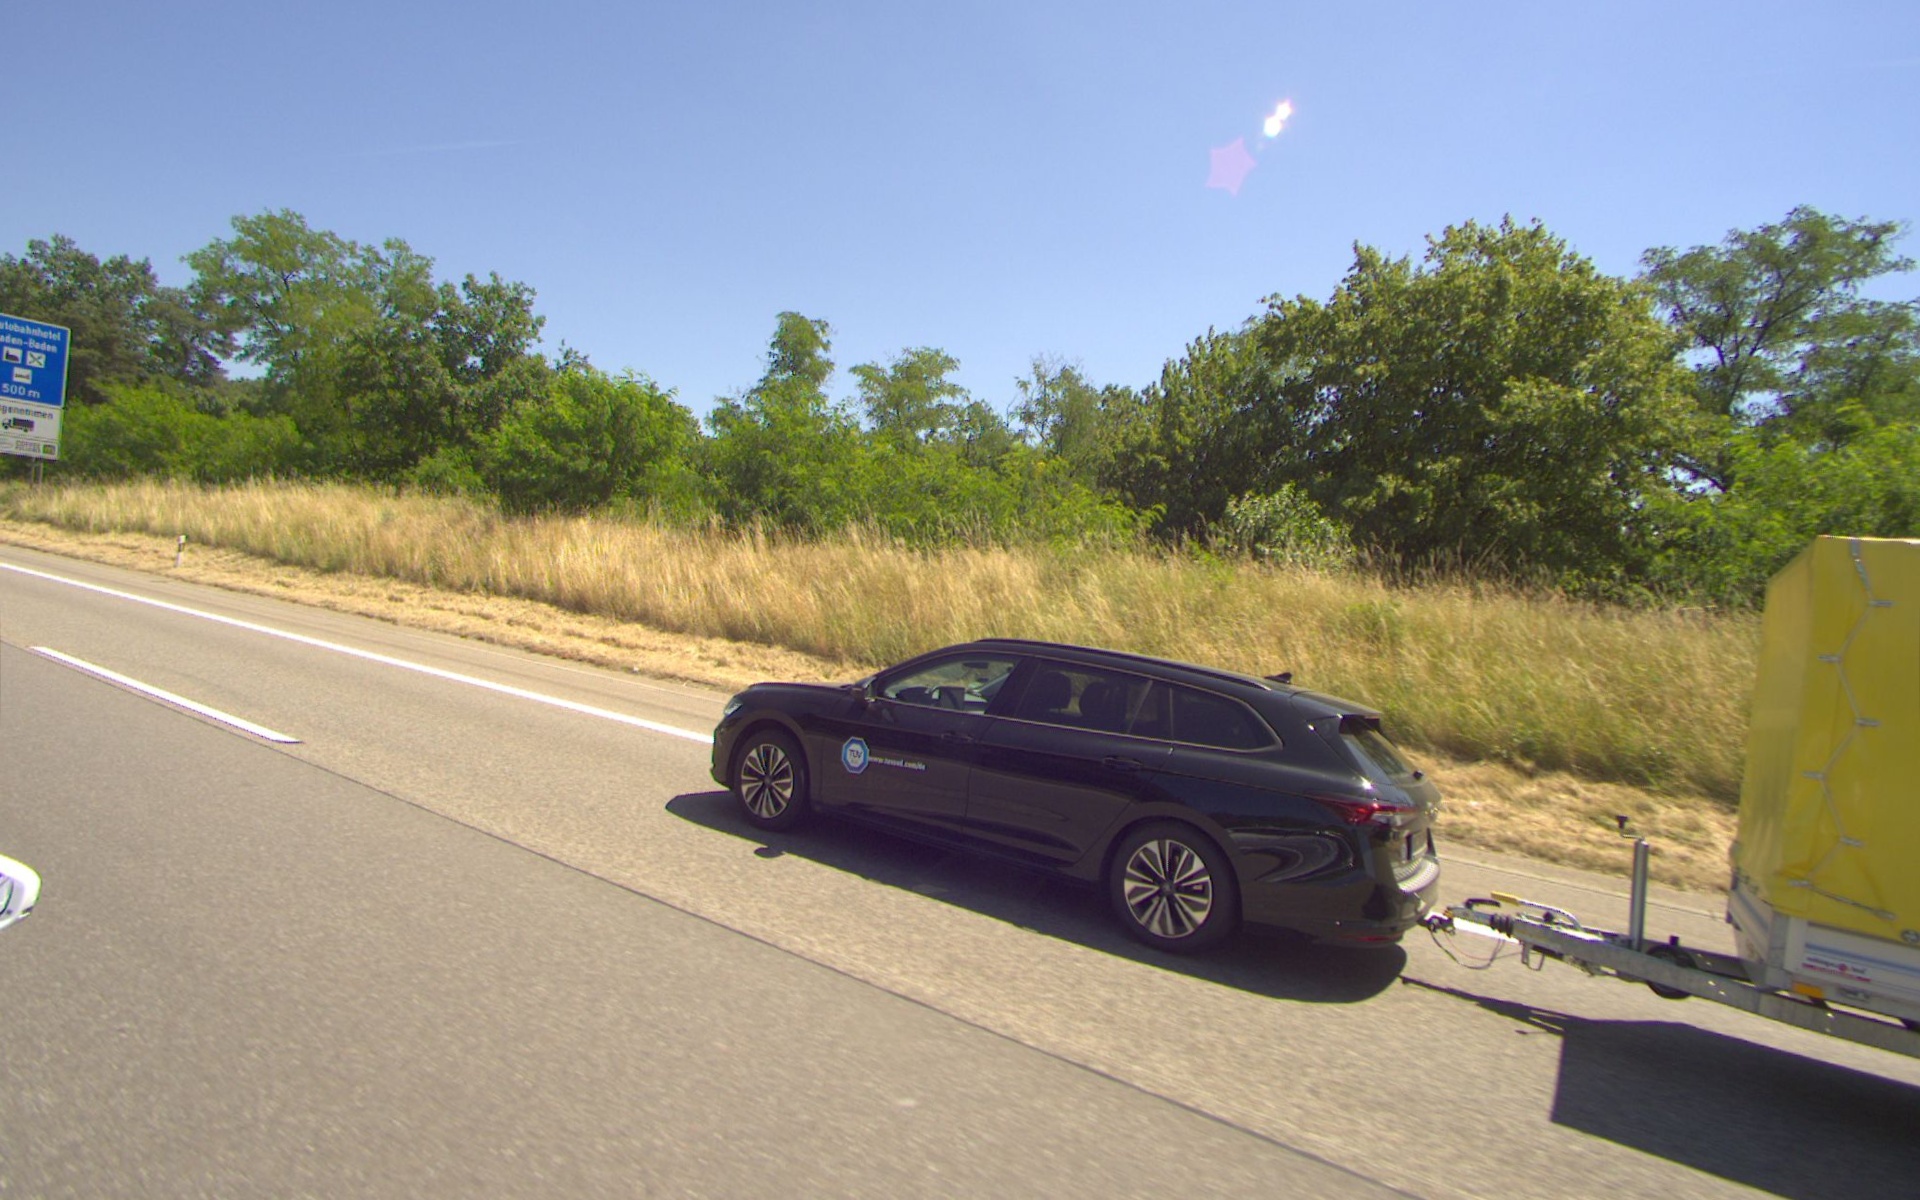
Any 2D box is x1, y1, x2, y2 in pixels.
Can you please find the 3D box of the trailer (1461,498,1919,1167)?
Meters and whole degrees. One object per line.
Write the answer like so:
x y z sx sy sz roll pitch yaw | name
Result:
4.320 0.966 4.037 3.777 2.317 1.705 6 -1 33 | trailer

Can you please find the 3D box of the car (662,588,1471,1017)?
0.478 0.954 6.434 4.710 1.473 1.824 6 -1 33 | car
